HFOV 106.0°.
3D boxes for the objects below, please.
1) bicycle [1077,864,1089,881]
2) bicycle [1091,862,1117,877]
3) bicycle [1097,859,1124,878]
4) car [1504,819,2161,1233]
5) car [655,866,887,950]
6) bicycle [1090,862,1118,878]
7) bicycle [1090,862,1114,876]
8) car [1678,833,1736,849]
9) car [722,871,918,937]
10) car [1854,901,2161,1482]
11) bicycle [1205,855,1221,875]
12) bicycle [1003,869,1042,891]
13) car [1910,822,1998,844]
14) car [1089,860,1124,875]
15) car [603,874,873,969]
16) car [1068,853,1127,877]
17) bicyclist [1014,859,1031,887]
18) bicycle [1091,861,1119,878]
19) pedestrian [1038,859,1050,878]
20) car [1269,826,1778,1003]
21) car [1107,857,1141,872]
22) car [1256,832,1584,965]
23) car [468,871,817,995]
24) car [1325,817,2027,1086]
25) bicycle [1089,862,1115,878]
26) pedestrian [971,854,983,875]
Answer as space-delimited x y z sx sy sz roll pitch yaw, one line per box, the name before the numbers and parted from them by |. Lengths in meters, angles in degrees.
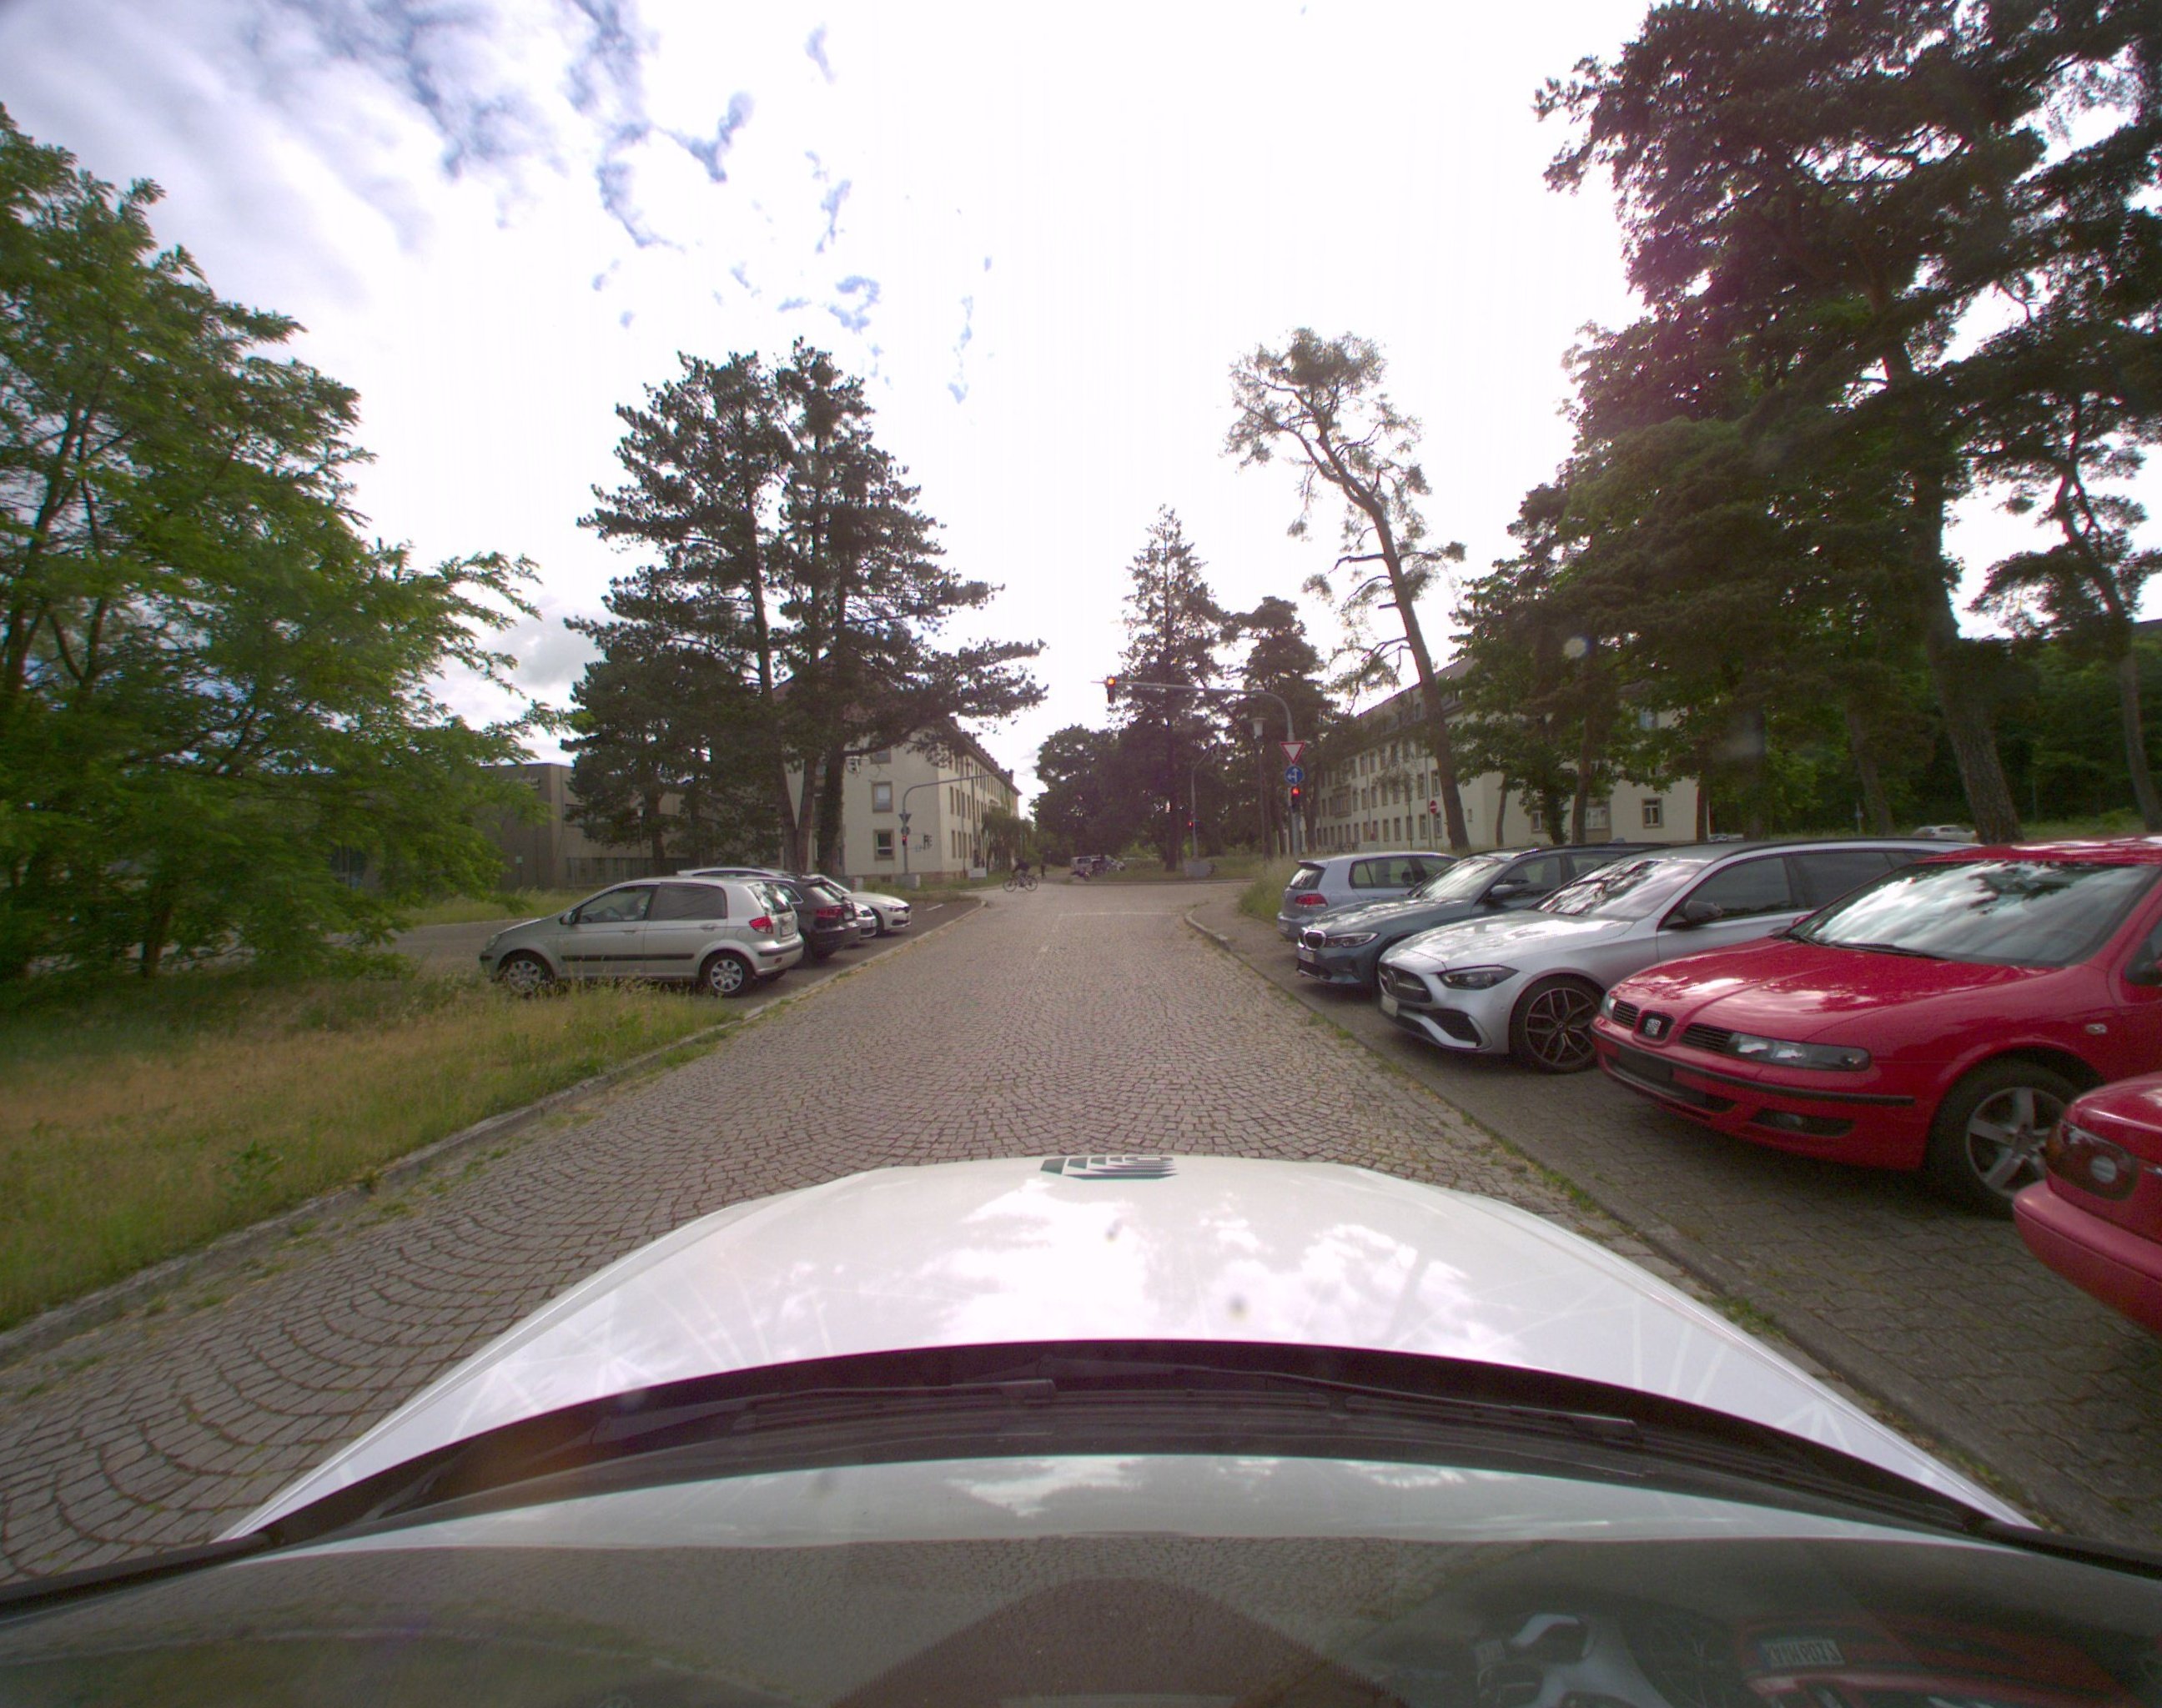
bicycle | 0.149 1.306 57.221 0.602 1.132 1.958 -2 0 -5
bicycle | 1.797 1.234 63.887 1.967 1.069 0.582 -2 -1 -30
bicycle | 2.266 1.093 61.887 1.953 1.384 0.586 -2 -1 -7
car | 4.813 0.638 4.182 4.248 1.416 1.871 -4 0 0
car | -6.008 1.022 16.144 3.938 1.563 1.648 0 -1 -3
bicycle | 1.722 1.190 61.055 1.953 1.117 0.586 -2 -1 -7
bicycle | 1.753 1.250 67.573 1.964 1.069 0.583 -2 -1 -25
car | 57.227 -1.184 74.484 3.931 1.421 1.651 0 -1 3
car | -5.893 1.108 18.680 3.935 1.421 1.650 0 -1 -1
car | 4.376 0.691 1.697 3.851 1.236 1.757 -4 0 -1
bicycle | 7.823 0.650 48.327 0.584 1.106 1.961 -2 0 0
bicycle | -3.004 1.324 41.982 1.949 1.024 0.605 -2 -1 0
car | 57.955 -1.374 54.104 3.931 1.421 1.651 0 -1 3
car | 2.334 1.252 75.132 3.001 1.268 1.532 -3 0 -6
car | -5.475 1.056 13.359 3.737 1.429 1.581 0 -1 -3
car | 1.574 1.033 78.507 5.359 1.925 2.019 -4 0 -9
bicyclist | -3.021 0.980 41.985 0.747 1.410 0.605 -2 -1 0
bicycle | 1.779 1.160 60.422 1.953 1.132 0.586 -2 -1 -7
pedestrian | -3.320 1.291 73.195 0.743 1.618 0.768 -2 -1 -32
car | 4.704 0.602 9.137 4.669 1.416 1.869 -4 0 -2
car | 4.340 1.058 82.392 3.224 1.416 1.723 -3 0 -3
car | 4.652 0.598 11.589 3.912 1.477 1.643 -4 0 1
car | -5.599 0.984 10.762 3.694 1.479 1.581 0 -1 -3
car | 4.463 0.618 6.450 4.421 1.416 1.865 -4 0 -9
bicycle | 1.632 1.229 62.537 1.967 1.069 0.582 -2 -1 -30
pedestrian | -9.728 0.980 76.143 0.779 1.837 0.733 -2 -1 -31
